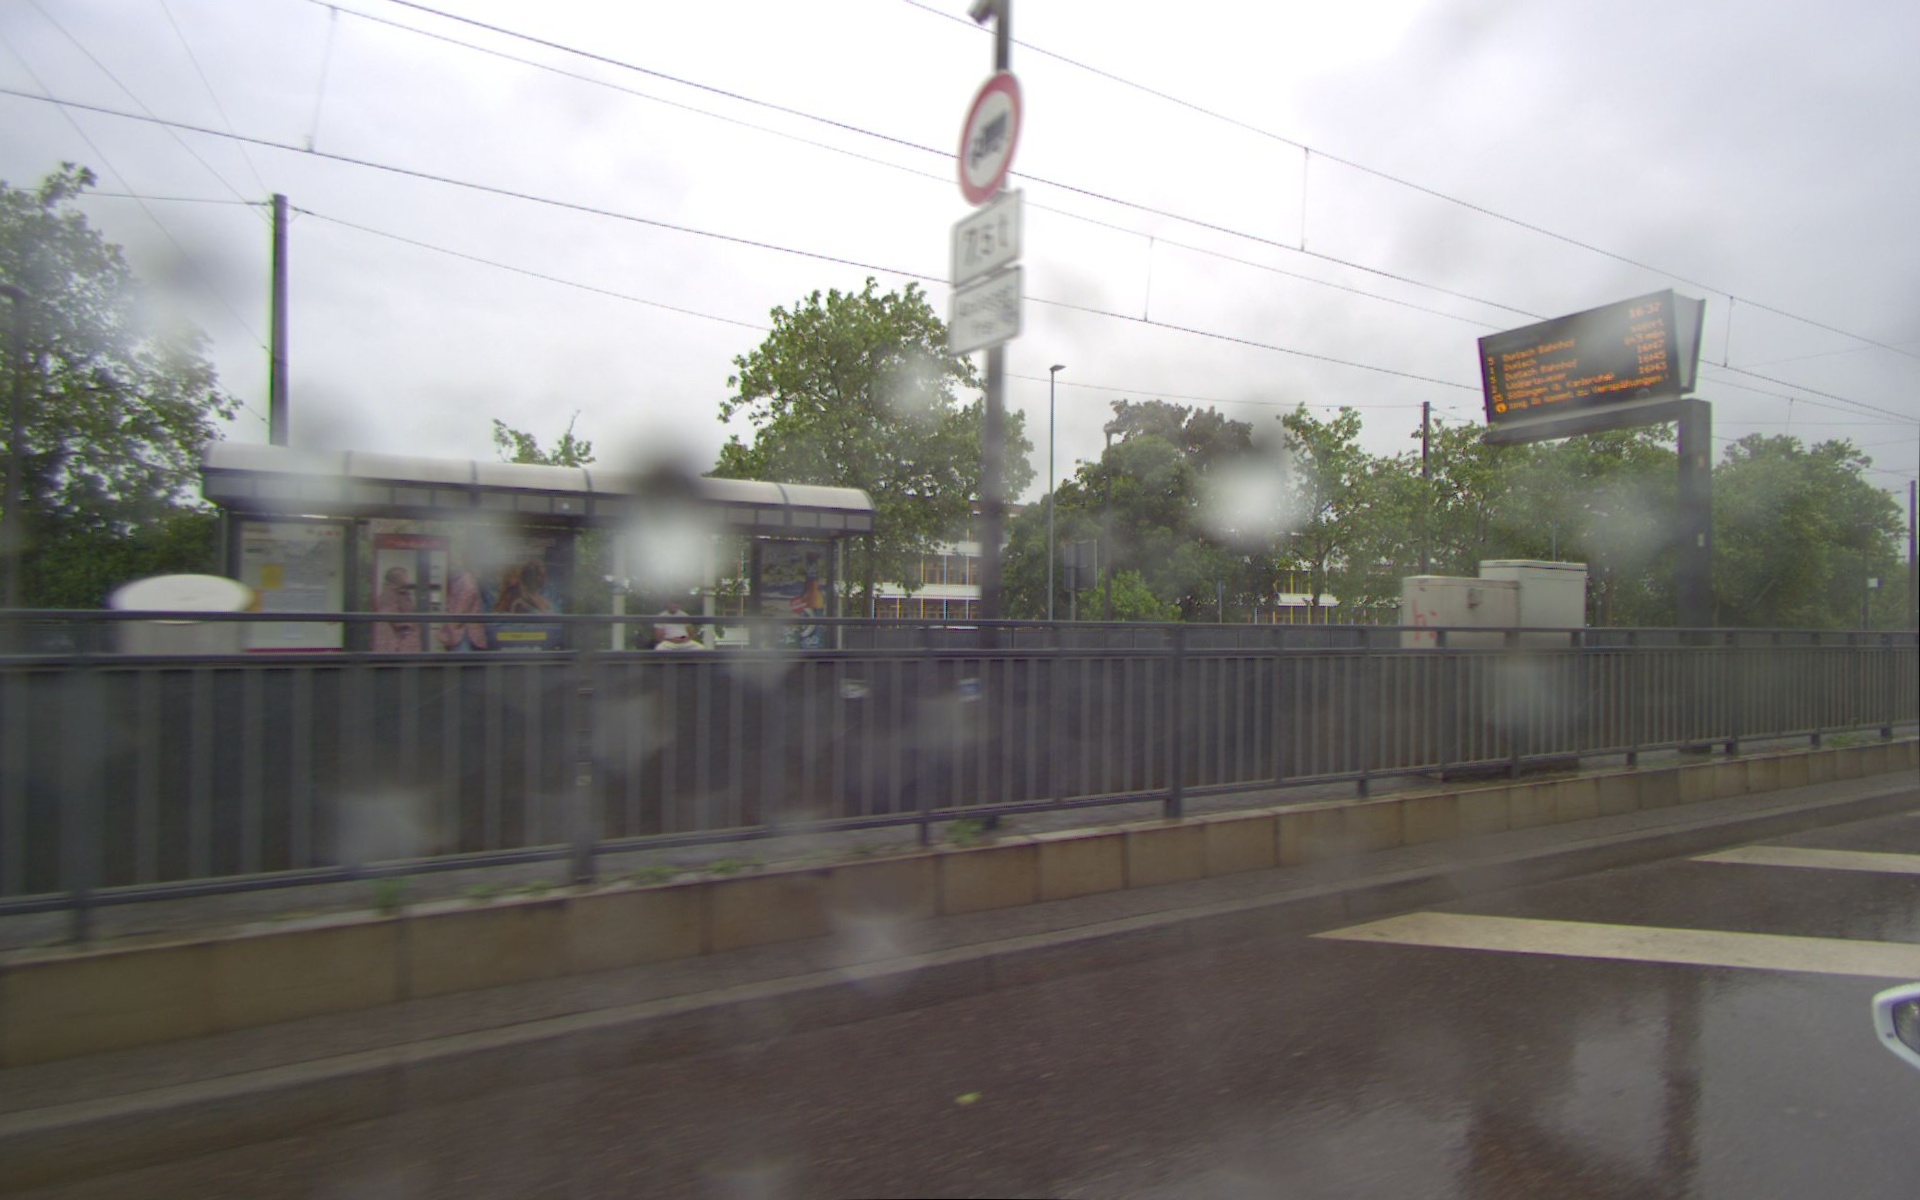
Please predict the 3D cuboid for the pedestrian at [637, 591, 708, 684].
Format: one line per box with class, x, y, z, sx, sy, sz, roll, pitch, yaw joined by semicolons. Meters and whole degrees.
pedestrian;-4.287;0.545;14.966;0.847;1.334;0.827;1;1;-29
